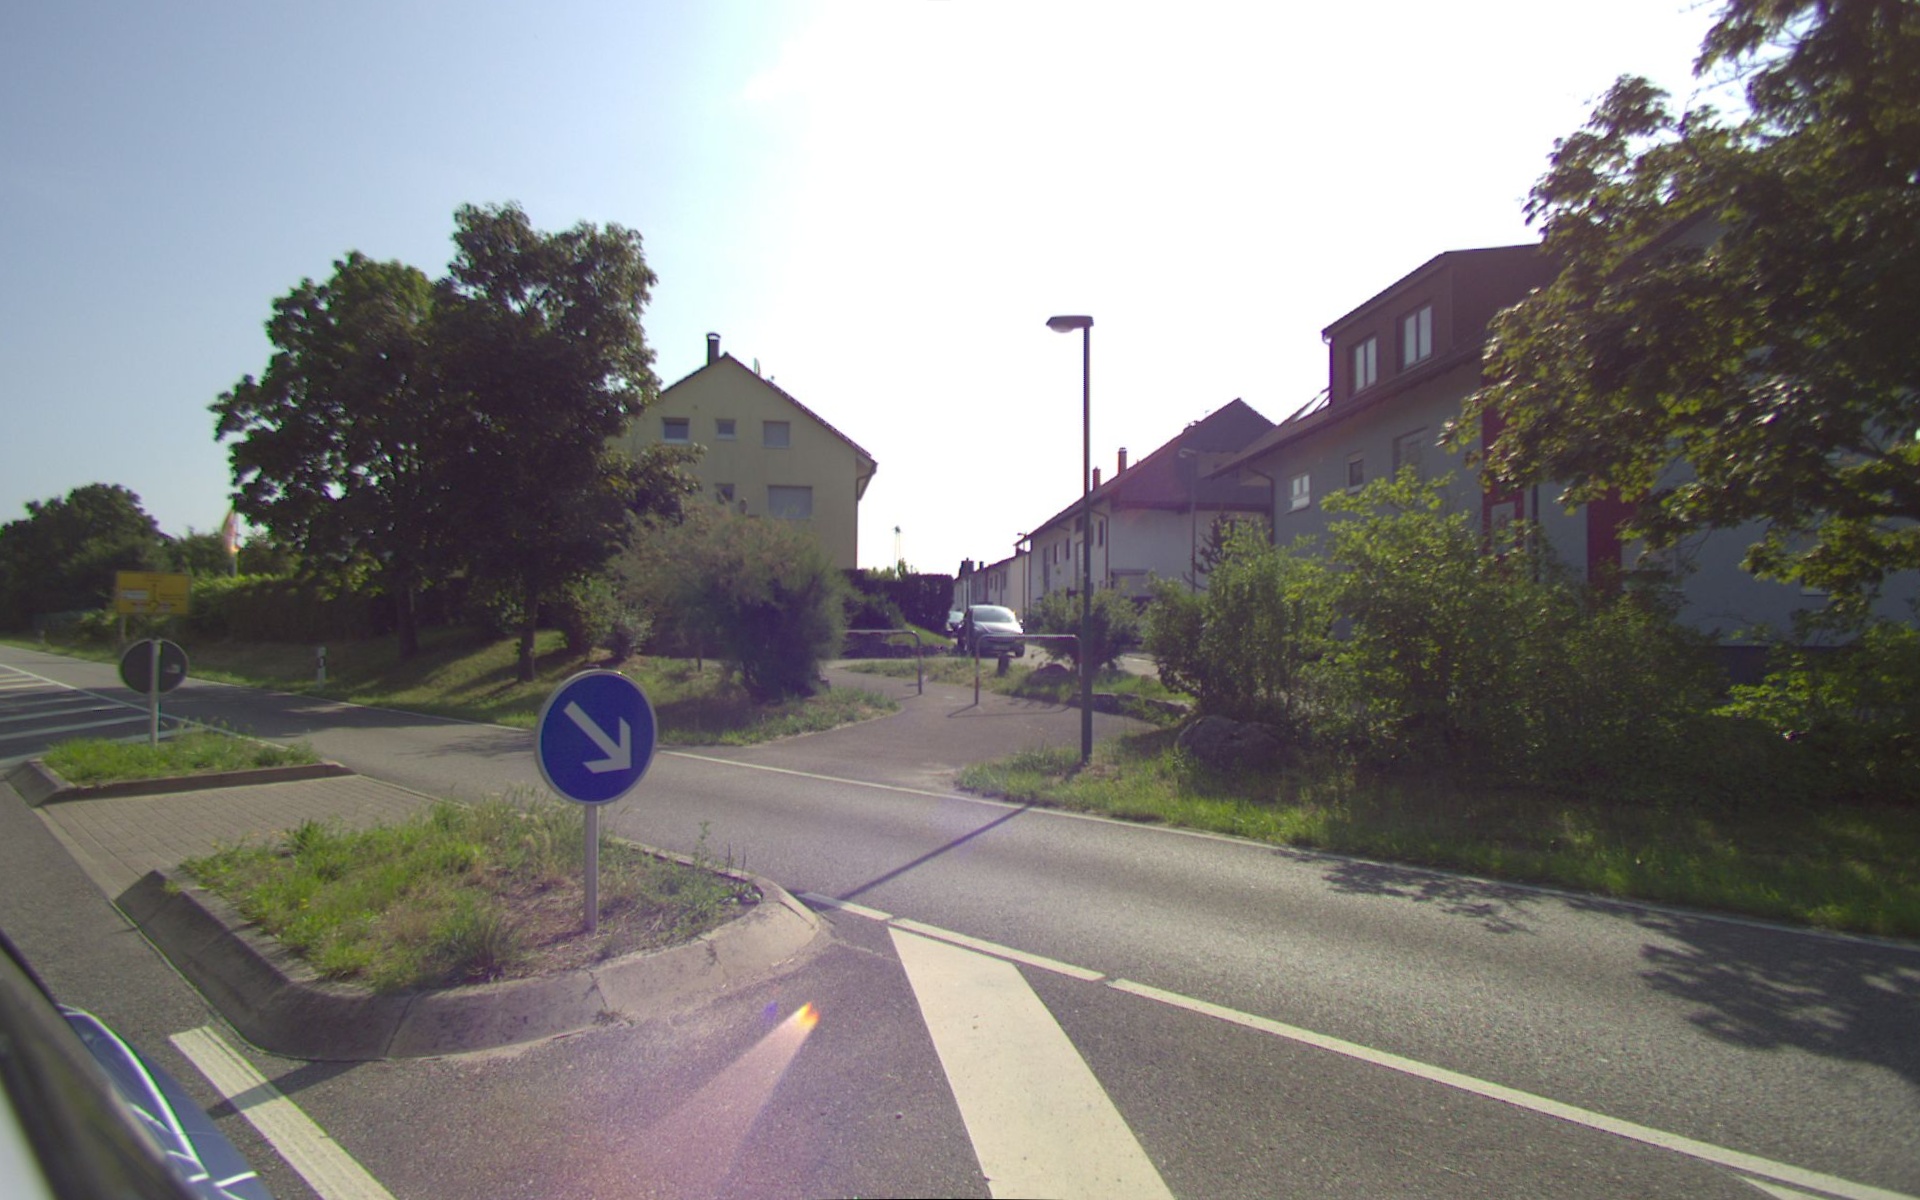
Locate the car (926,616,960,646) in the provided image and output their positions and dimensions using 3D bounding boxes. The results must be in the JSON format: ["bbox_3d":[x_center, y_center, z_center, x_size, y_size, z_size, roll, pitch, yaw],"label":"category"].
[{"bbox_3d":[-0.916,1.567,52.058,1.613,1.474,4.002,0,-2,-3],"label":"car"}]

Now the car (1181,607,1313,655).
[{"bbox_3d":[9.146,0.990,32.440,3.719,1.473,1.747,0,-2,1],"label":"car"}]

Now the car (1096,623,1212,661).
[{"bbox_3d":[7.295,1.575,38.255,4.027,1.383,1.812,0,-2,1],"label":"car"}]

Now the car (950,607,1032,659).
[{"bbox_3d":[0.886,1.012,31.327,1.839,1.474,4.241,0,-2,-8],"label":"car"}]

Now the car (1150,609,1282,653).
[{"bbox_3d":[8.805,1.082,35.011,4.081,1.459,1.868,0,-2,1],"label":"car"}]
